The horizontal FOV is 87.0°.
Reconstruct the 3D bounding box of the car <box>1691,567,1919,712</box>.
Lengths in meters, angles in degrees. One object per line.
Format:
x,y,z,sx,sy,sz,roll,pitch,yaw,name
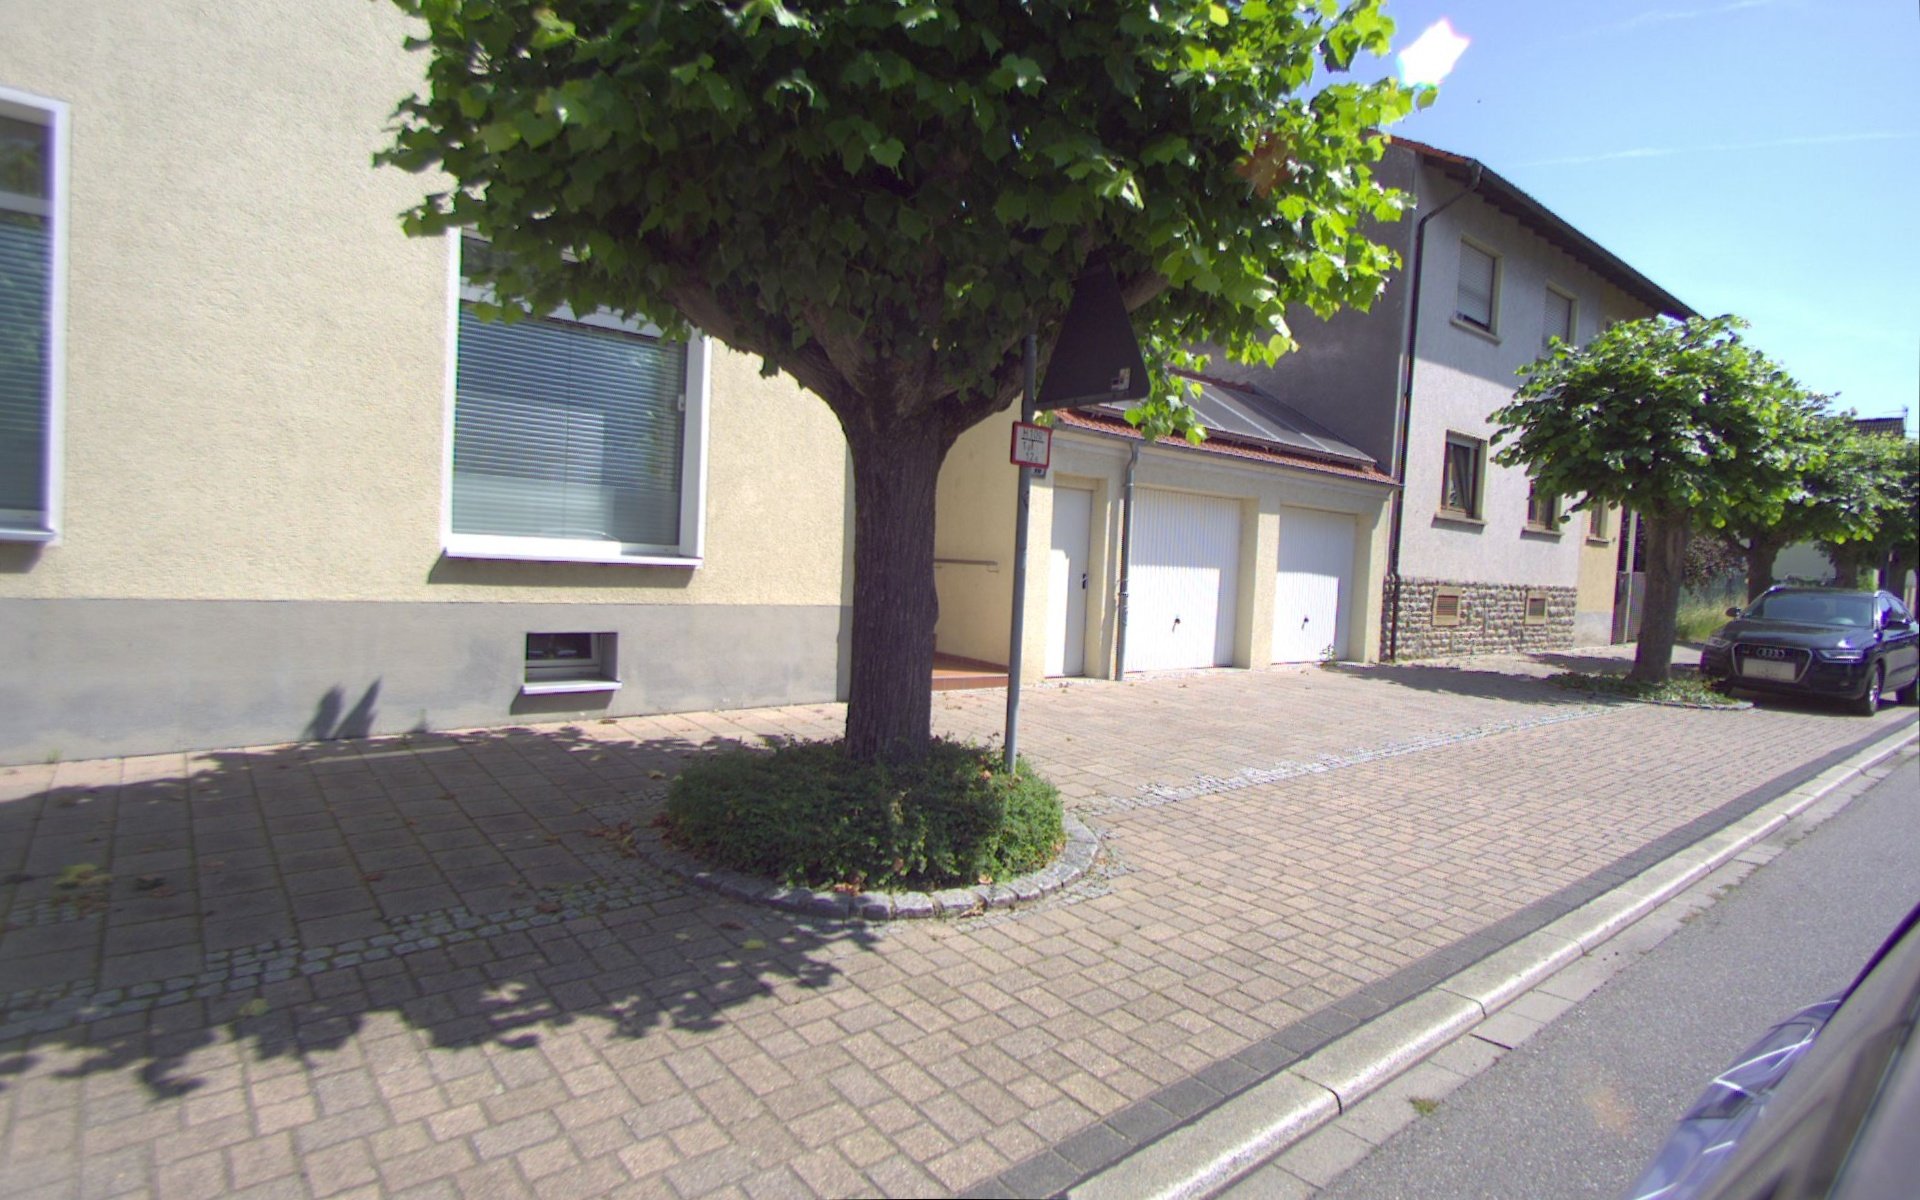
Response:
11.901,0.471,13.873,3.981,1.604,1.831,1,4,-37,car
